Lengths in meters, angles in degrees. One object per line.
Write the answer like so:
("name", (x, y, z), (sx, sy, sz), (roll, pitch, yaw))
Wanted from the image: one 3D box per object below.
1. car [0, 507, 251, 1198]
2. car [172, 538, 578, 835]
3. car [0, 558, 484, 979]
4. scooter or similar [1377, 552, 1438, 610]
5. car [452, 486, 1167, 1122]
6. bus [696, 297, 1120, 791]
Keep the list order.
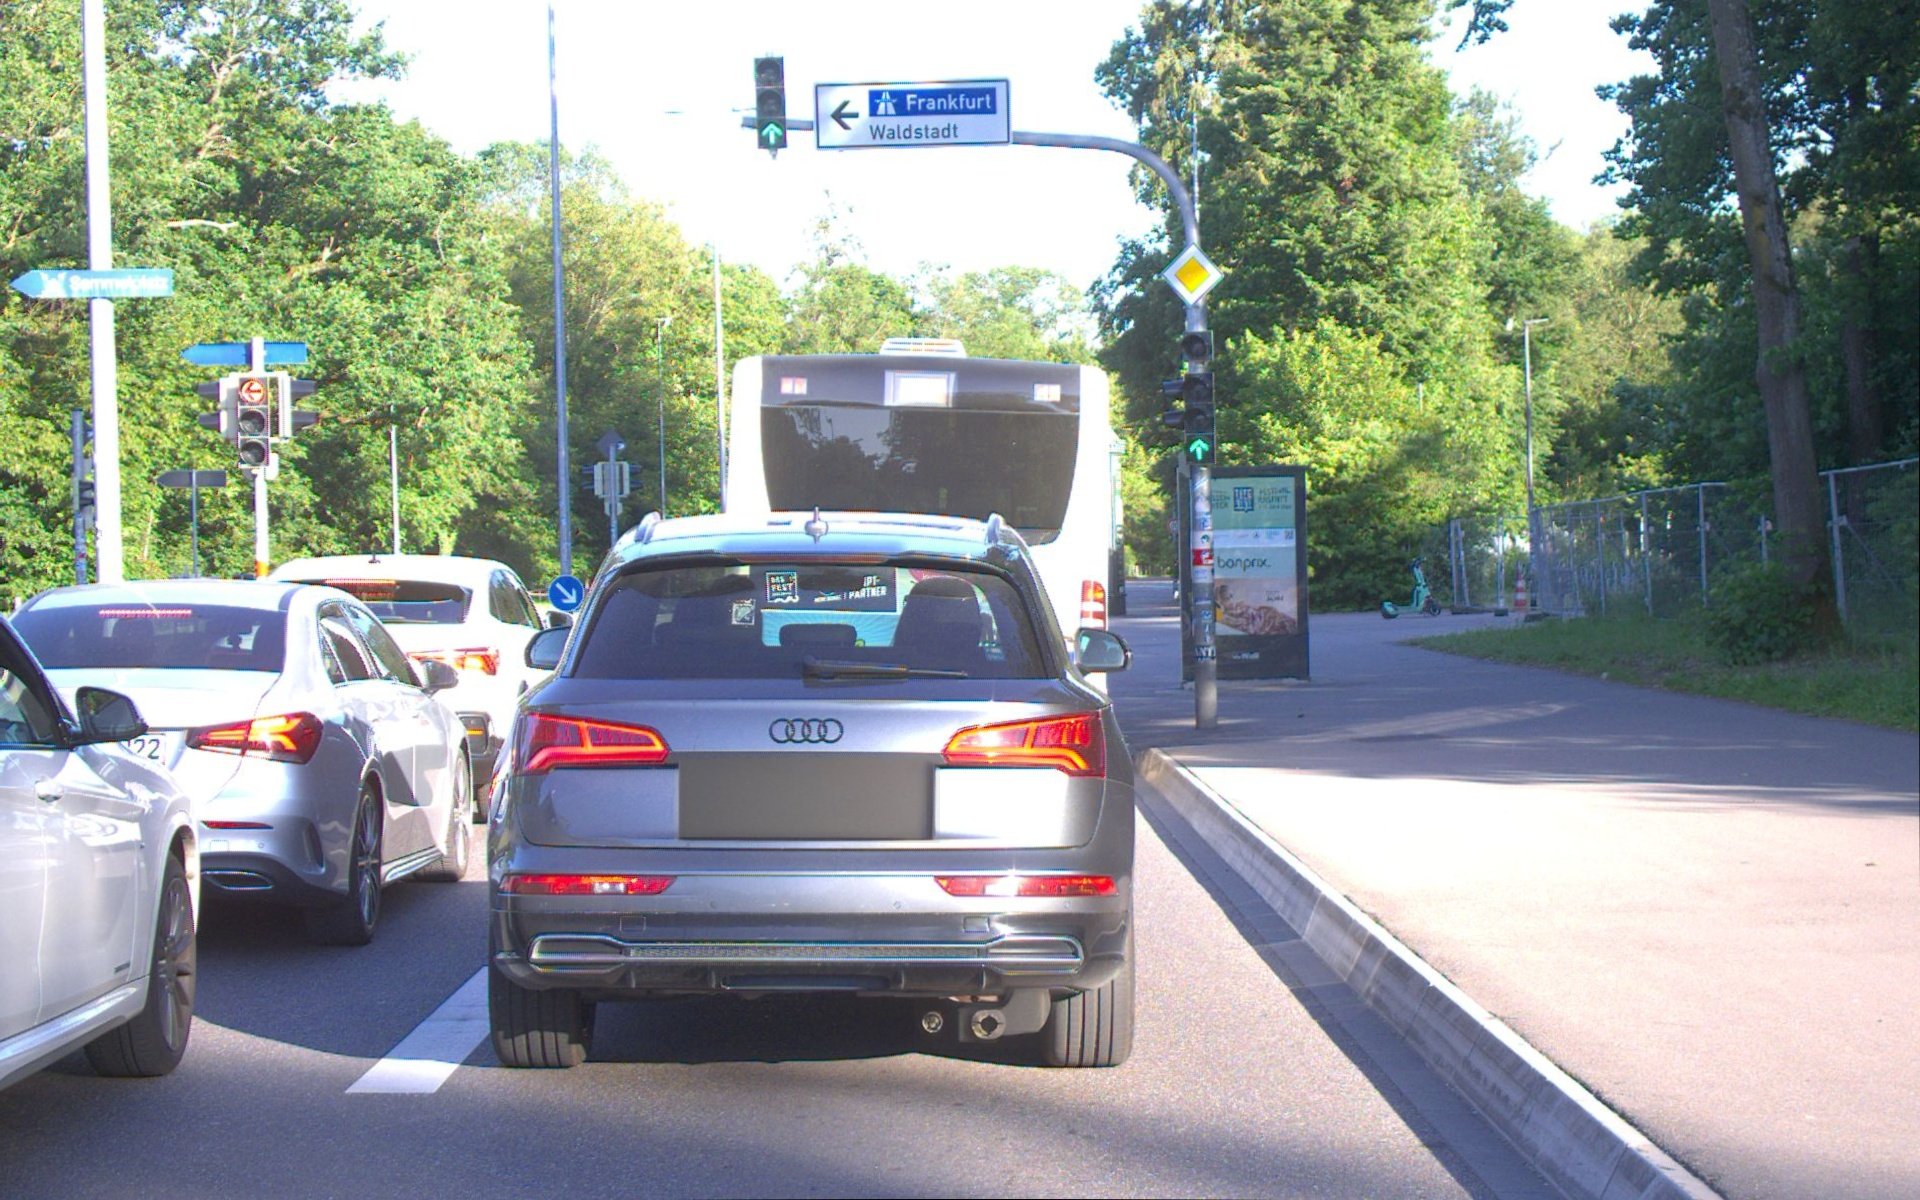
("car", (-3.046, 0.561, 8.463), (1.718, 1.575, 4.434), (1, 0, -1))
("car", (-3.423, 0.439, 20.805), (1.808, 1.567, 4.000), (1, 1, -1))
("car", (-3.166, 0.581, 14.503), (1.785, 1.439, 4.278), (1, 1, -1))
("scooter or similar", (9.253, -0.394, 71.107), (1.184, 1.170, 0.659), (1, 1, 11))
("car", (-0.427, 0.496, 11.121), (1.868, 1.658, 4.000), (1, 1, -1))
("bus", (-0.310, -0.426, 25.055), (2.678, 3.131, 5.882), (1, 1, 1))
